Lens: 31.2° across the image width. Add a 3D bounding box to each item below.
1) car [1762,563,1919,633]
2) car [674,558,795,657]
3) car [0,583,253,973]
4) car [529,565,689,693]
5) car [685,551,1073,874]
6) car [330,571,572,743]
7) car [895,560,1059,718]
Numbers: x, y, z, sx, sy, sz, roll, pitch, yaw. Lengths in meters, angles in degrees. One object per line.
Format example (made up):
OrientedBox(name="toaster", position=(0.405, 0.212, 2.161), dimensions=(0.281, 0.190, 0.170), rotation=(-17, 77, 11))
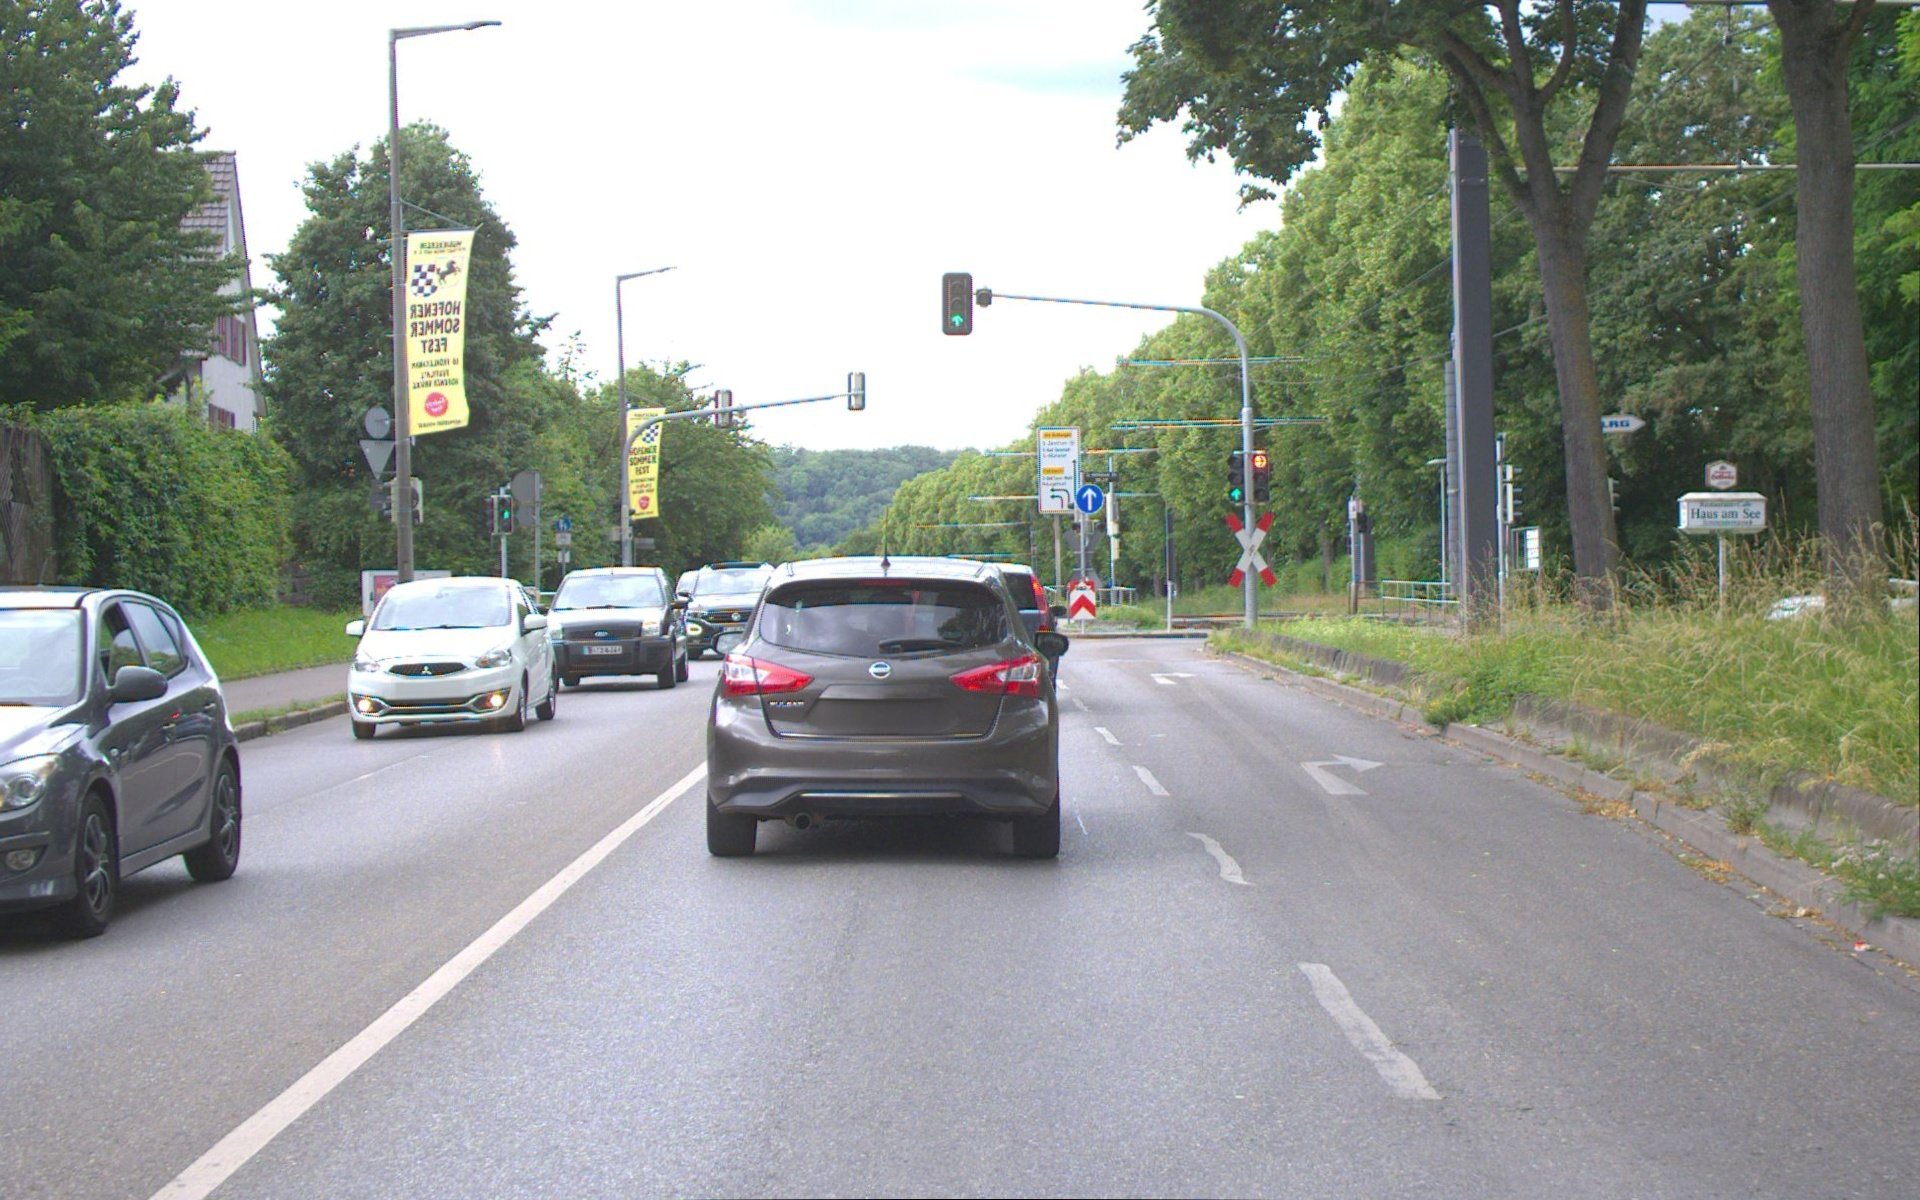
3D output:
OrientedBox(name="car", position=(19.847, -0.023, 75.186), dimensions=(3.986, 1.349, 2.000), rotation=(3, 0, -5))
OrientedBox(name="car", position=(-3.757, 0.095, 57.801), dimensions=(1.812, 1.519, 4.177), rotation=(-2, 1, -2))
OrientedBox(name="car", position=(-4.469, 0.711, 15.379), dimensions=(1.728, 1.459, 4.153), rotation=(-2, 1, 0))
OrientedBox(name="car", position=(-4.402, 0.330, 43.634), dimensions=(1.643, 1.476, 4.107), rotation=(-3, 1, -1))
OrientedBox(name="car", position=(-0.379, 0.505, 18.655), dimensions=(1.835, 1.514, 4.483), rotation=(1, 1, 0))
OrientedBox(name="car", position=(-4.910, 0.512, 33.647), dimensions=(1.618, 1.456, 4.072), rotation=(-4, 1, 1))
OrientedBox(name="car", position=(0.170, 0.356, 34.944), dimensions=(1.538, 1.473, 3.764), rotation=(-1, 1, 0))
